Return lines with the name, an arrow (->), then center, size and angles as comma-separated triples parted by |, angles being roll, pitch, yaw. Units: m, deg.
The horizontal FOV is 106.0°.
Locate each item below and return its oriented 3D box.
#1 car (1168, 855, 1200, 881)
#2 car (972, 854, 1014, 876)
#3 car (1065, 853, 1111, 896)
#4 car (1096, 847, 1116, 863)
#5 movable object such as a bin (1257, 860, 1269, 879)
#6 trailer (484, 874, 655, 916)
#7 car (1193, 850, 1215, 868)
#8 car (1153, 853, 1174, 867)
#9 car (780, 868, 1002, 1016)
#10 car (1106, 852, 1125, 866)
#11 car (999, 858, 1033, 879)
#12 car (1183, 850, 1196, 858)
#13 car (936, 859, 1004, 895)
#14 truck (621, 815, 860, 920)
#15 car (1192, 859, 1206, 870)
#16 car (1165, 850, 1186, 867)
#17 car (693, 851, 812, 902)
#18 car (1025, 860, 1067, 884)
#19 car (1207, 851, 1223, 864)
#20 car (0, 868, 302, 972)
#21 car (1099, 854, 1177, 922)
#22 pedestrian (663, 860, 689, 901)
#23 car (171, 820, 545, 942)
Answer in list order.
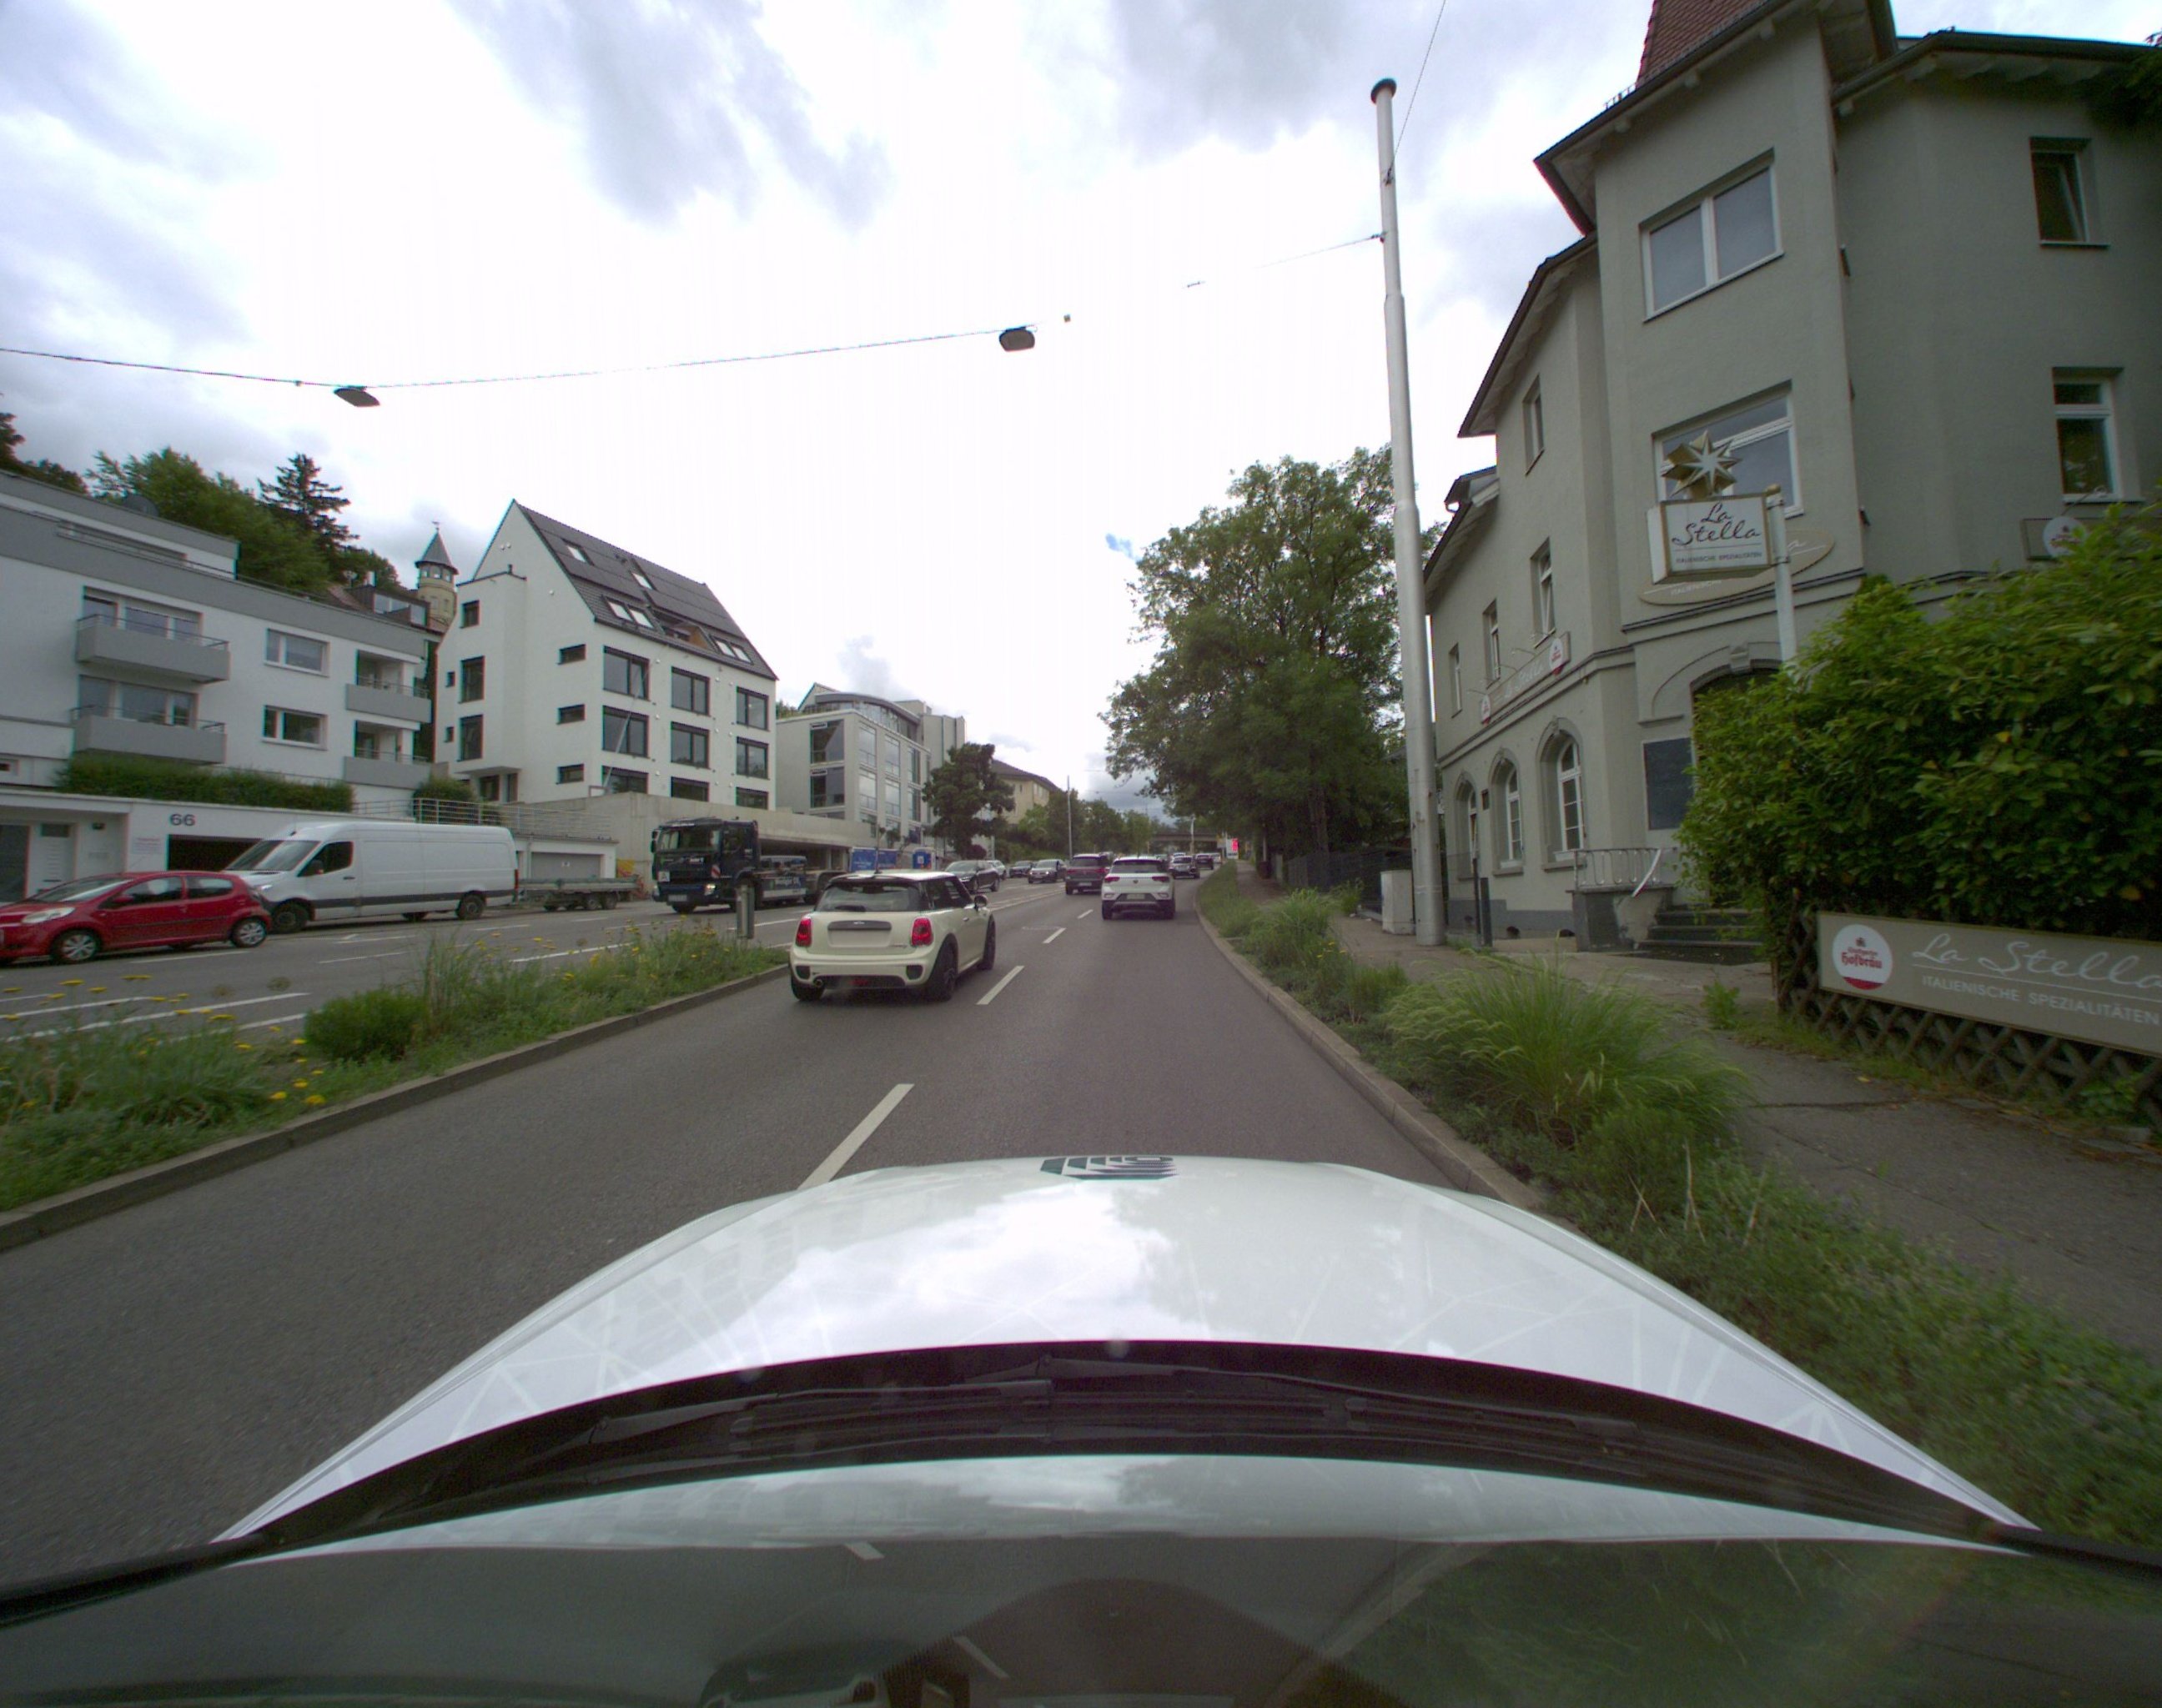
car -> 6.502, 0.873, 51.477 | 1.863, 1.501, 4.564 | 2, 0, 8
car -> -6.674, 0.814, 62.152 | 1.758, 1.499, 4.321 | -1, 0, 14
car -> 0.294, 0.809, 34.727 | 1.807, 1.652, 4.636 | -2, 0, 0
car -> 3.775, 0.176, 122.099 | 2.056, 2.305, 5.480 | -1, 0, 10
movable object such as a bin -> 9.399, 0.780, 42.039 | 0.552, 0.947, 0.569 | -1, 0, 7
trailer -> -16.756, 1.295, 27.027 | 2.233, 1.112, 4.634 | -1, 0, 9
car -> 11.573, 0.473, 76.463 | 1.862, 1.501, 4.567 | 2, 0, 10
car -> 9.885, 0.657, 97.602 | 1.758, 1.596, 5.203 | -1, 0, 14
car -> -2.131, 0.940, 10.122 | 1.620, 1.393, 3.571 | -2, 0, 5
car -> 4.582, 0.646, 107.739 | 2.057, 1.656, 4.703 | -1, 0, 8
car -> -5.616, 1.248, 70.711 | 1.758, 1.634, 3.930 | -1, 0, 14
car -> 20.341, -0.015, 152.771 | 1.852, 1.500, 4.055 | -2, 0, 0
car -> -5.025, 1.007, 37.330 | 1.684, 1.496, 4.500 | 0, 0, 11
truck -> -11.005, 0.354, 27.774 | 2.942, 2.971, 9.007 | 0, 0, 11
car -> 17.454, 1.591, 120.129 | 1.847, 1.500, 4.067 | -2, 0, 10
car -> 10.103, 0.489, 86.757 | 1.846, 1.652, 4.650 | -2, 0, 10
car -> -13.894, 0.887, 34.834 | 1.968, 1.967, 5.238 | -1, 0, 14
car -> -2.205, 1.107, 52.134 | 1.832, 1.393, 4.295 | -1, 0, 9
car -> 16.907, 0.426, 102.880 | 1.847, 1.500, 4.066 | -2, 0, 9
car -> -16.350, 1.032, 14.156 | 1.614, 1.465, 3.932 | -1, 0, 5
car -> 1.519, 0.821, 21.315 | 1.803, 1.539, 3.694 | -2, 0, 5
pedestrian -> -16.510, 1.053, 33.177 | 0.620, 1.640, 0.676 | 1, 0, 24
car -> -17.904, 0.557, 21.066 | 2.218, 2.568, 7.441 | -1, 0, 9
